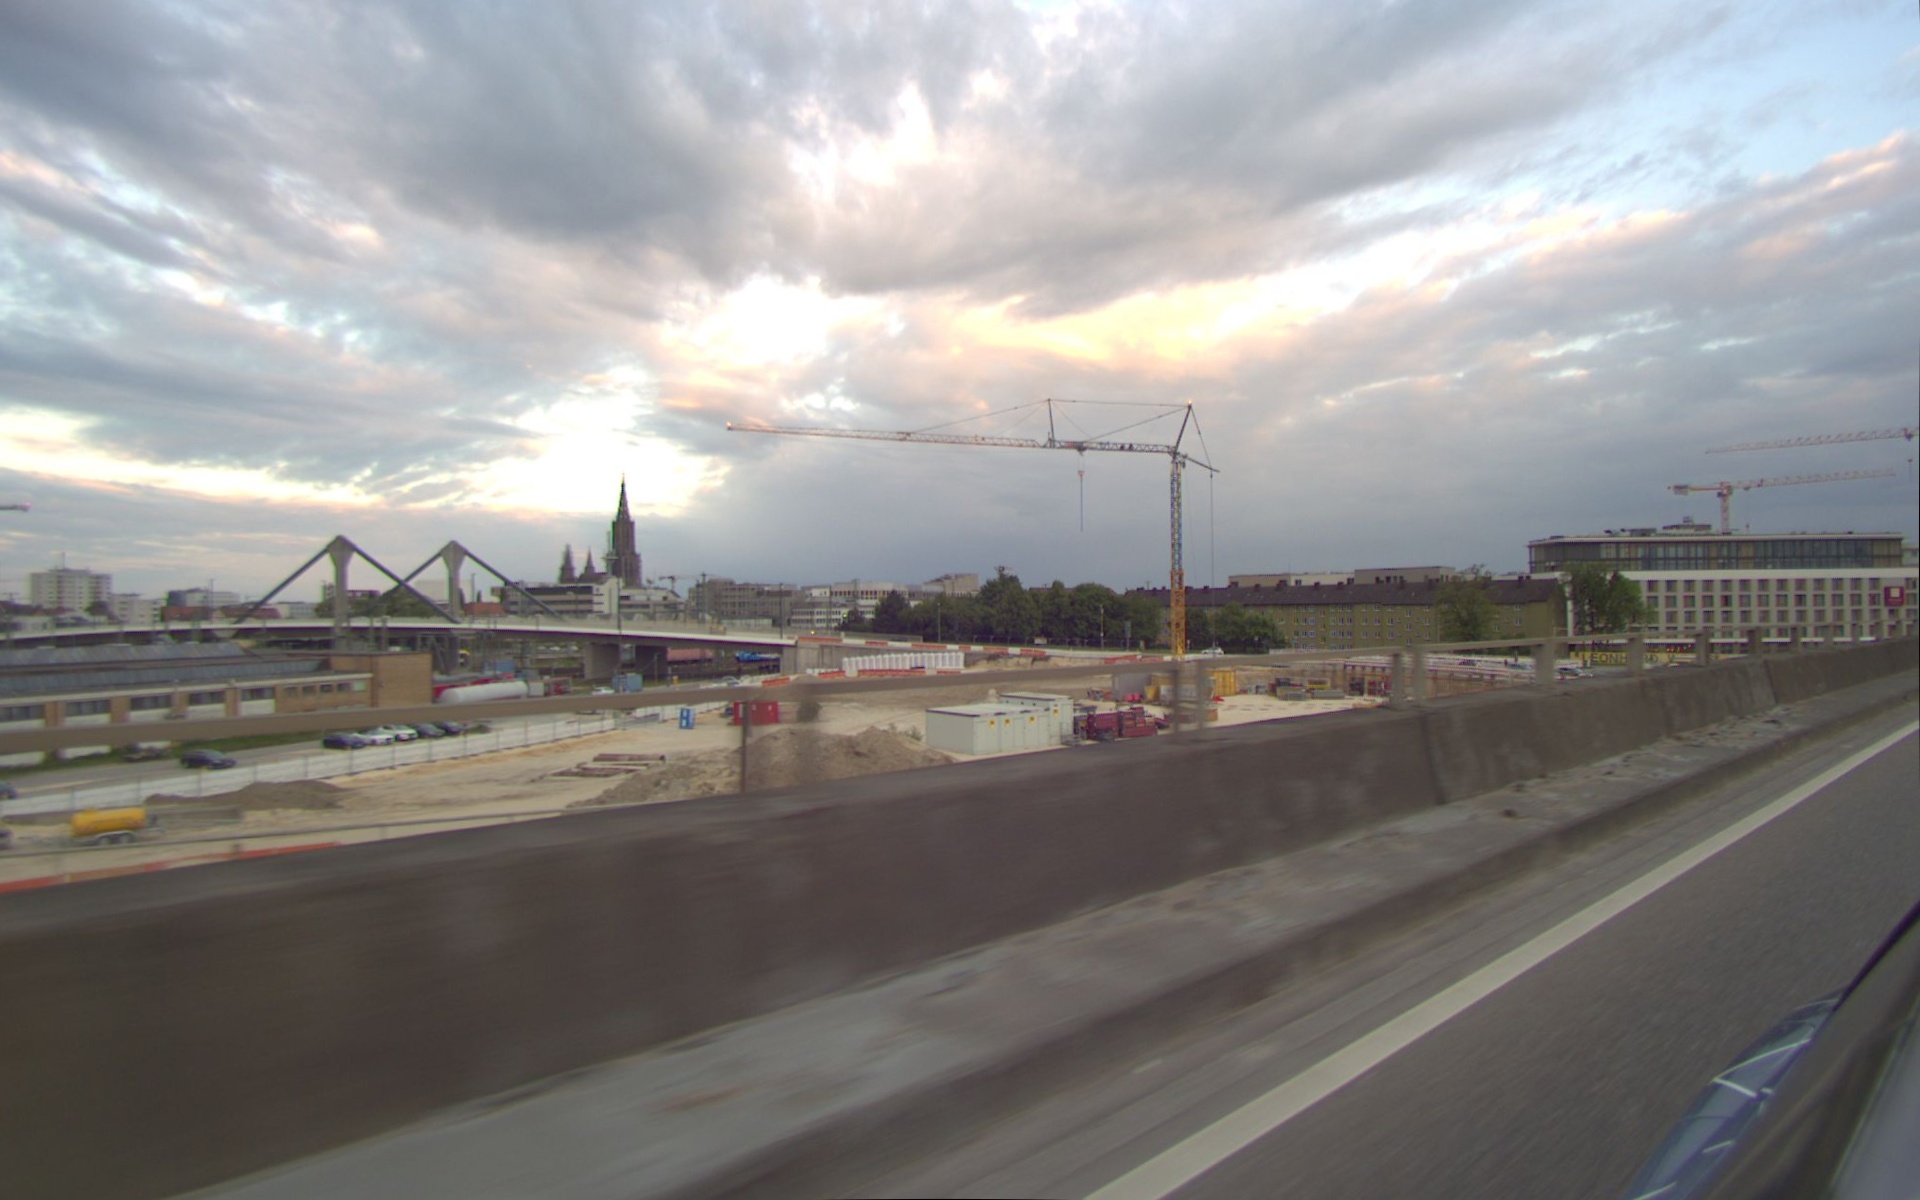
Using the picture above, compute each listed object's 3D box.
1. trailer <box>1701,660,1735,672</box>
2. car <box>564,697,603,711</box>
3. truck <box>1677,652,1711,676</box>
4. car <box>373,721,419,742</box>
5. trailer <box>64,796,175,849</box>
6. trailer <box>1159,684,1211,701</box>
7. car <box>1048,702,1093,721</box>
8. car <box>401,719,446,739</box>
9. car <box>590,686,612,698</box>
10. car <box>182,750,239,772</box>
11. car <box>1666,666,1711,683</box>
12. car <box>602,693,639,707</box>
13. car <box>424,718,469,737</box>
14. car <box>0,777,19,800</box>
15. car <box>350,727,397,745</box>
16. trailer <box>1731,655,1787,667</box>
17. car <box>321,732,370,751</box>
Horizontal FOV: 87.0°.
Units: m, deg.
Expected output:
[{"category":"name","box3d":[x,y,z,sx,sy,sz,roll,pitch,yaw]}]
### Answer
[{"category":"trailer","box3d":[103.149,9.037,137.654,5.763,1.366,1.997,1,-7,-37]},{"category":"car","box3d":[-46.840,12.961,126.052,4.281,1.540,1.862,-3,-1,15]},{"category":"truck","box3d":[96.873,8.372,133.525,7.210,2.987,2.159,1,-4,-42]},{"category":"car","box3d":[-55.676,12.947,99.860,3.948,1.738,1.858,-6,-6,19]},{"category":"trailer","box3d":[-39.428,10.397,47.537,1.992,1.828,3.783,-9,-7,43]},{"category":"trailer","box3d":[20.052,8.257,90.266,4.164,1.257,1.787,-1,-2,-11]},{"category":"car","box3d":[9.987,10.111,91.658,3.719,1.461,1.530,-3,-6,-11]},{"category":"car","box3d":[-54.226,13.061,102.238,3.948,1.674,1.858,-6,-6,19]},{"category":"car","box3d":[-52.716,13.534,148.501,1.415,1.597,3.672,-5,-6,9]},{"category":"car","box3d":[-61.530,13.184,83.122,3.948,1.439,1.858,-6,-6,19]},{"category":"car","box3d":[82.250,8.417,114.250,1.611,1.761,3.800,-1,-2,-23]},{"category":"car","box3d":[-43.825,12.926,130.626,4.281,1.540,1.862,-3,-1,15]},{"category":"car","box3d":[-53.101,13.177,104.646,3.948,1.674,1.858,-6,-6,19]},{"category":"car","box3d":[-67.412,13.144,69.952,3.948,1.439,1.858,-6,-6,19]},{"category":"car","box3d":[-56.376,13.087,97.289,3.948,1.439,1.858,-6,-6,19]},{"category":"trailer","box3d":[109.253,8.337,138.427,5.834,1.365,2.002,0,0,35]},{"category":"car","box3d":[-57.485,13.212,94.671,3.948,1.439,1.858,-6,-6,19]}]
